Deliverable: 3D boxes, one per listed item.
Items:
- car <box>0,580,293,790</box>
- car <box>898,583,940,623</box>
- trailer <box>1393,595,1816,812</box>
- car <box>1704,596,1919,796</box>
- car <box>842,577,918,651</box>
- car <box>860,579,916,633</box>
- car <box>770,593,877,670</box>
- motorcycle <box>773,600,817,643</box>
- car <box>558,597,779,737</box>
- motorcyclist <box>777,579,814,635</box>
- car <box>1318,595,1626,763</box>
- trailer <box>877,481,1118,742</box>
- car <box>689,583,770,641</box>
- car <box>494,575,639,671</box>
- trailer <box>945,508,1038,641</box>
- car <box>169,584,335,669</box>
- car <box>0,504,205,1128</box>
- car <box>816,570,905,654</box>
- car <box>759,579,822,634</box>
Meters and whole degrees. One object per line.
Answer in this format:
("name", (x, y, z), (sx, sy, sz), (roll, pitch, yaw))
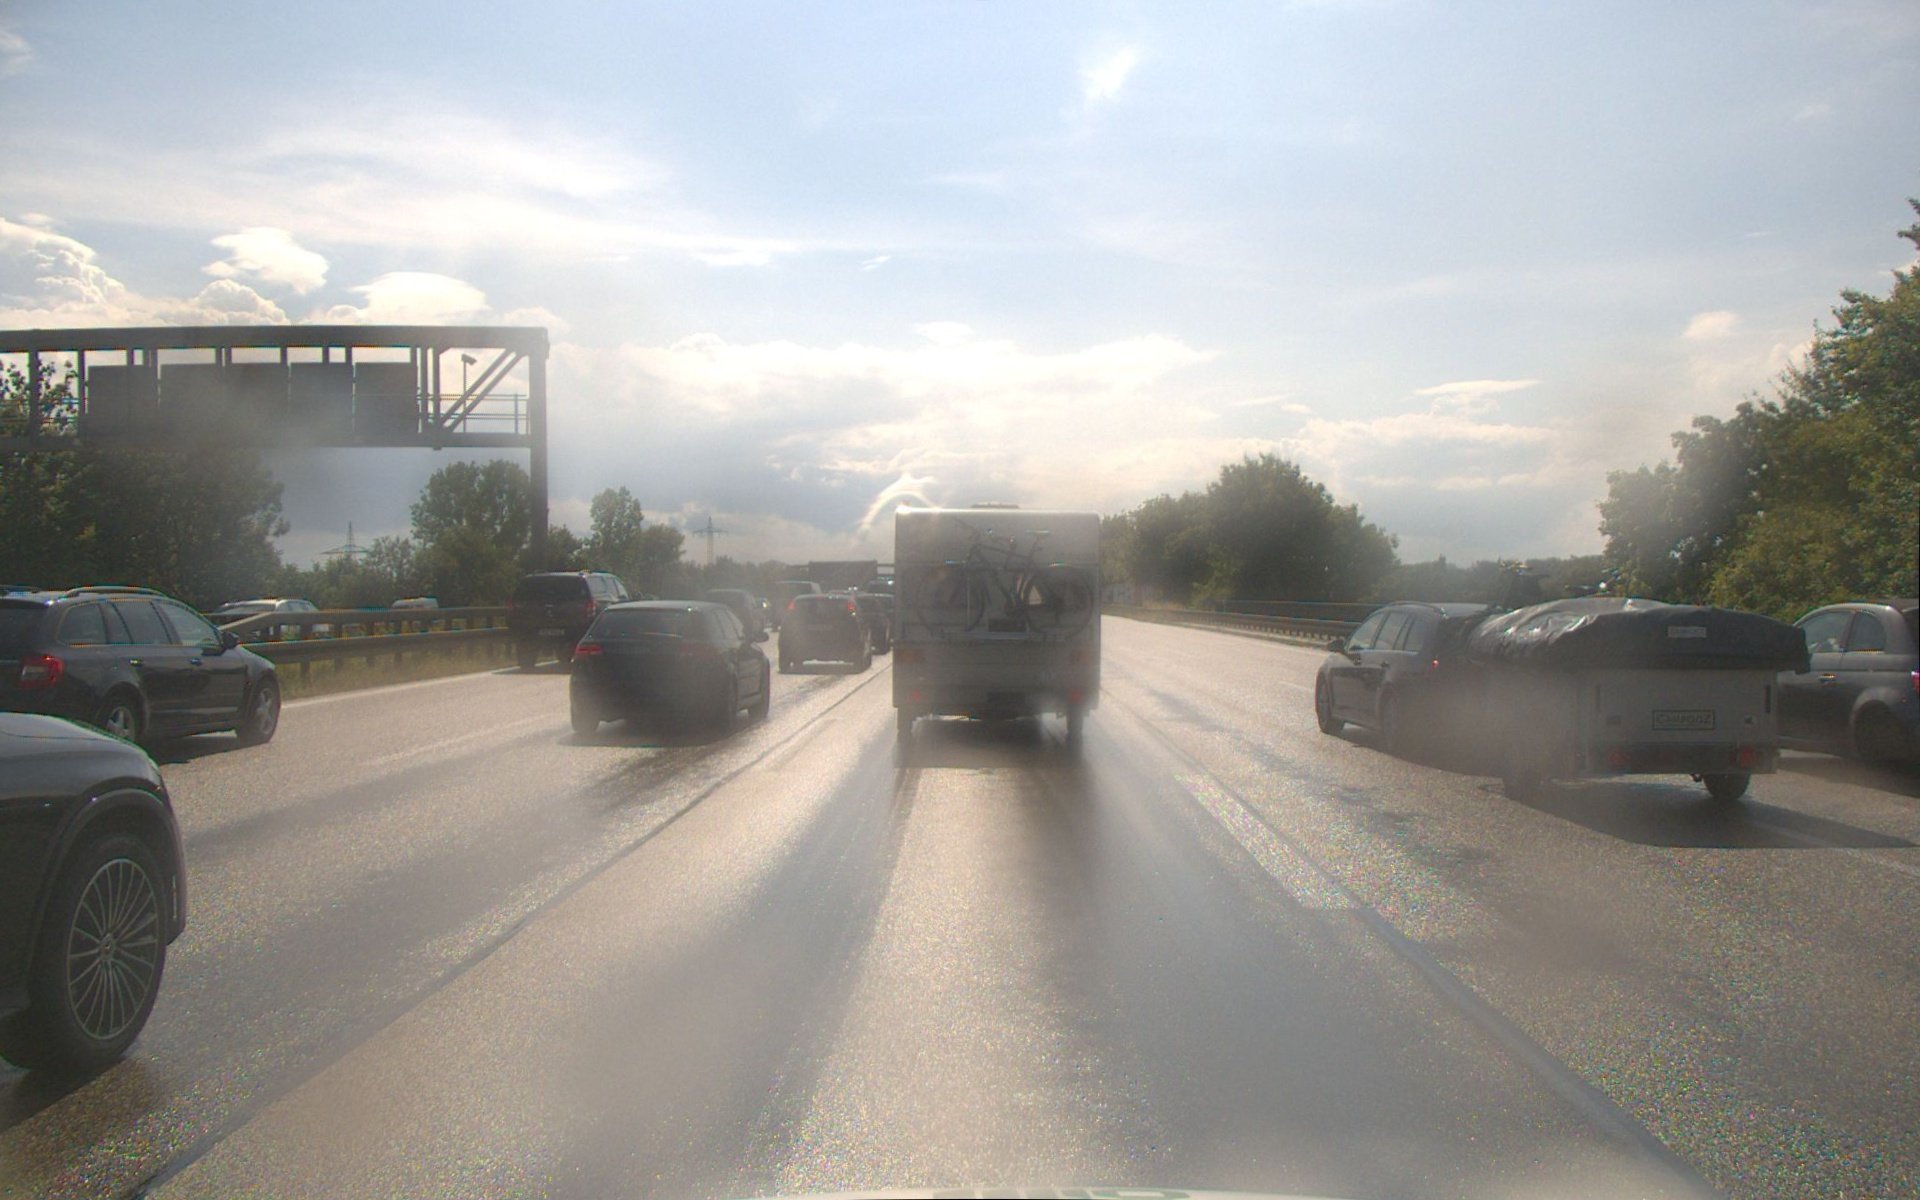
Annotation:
("car", (-7.512, 0.614, 14.260), (1.720, 1.543, 4.209), (0, 0, 1))
("car", (-2.089, 0.140, 85.563), (1.952, 2.049, 4.001), (0, 0, 1))
("trailer", (4.930, 0.699, 13.328), (1.816, 1.467, 4.148), (0, 0, 0))
("car", (8.083, 0.725, 14.350), (1.637, 1.508, 3.671), (0, 0, 0))
("car", (-2.409, 0.414, 50.813), (1.953, 2.048, 4.001), (4, 0, 1))
("car", (-2.796, 0.212, 64.943), (1.952, 2.049, 4.001), (0, 0, 1))
("car", (-2.687, 0.595, 33.400), (1.769, 1.432, 4.000), (1, 0, 1))
("motorcycle", (-5.197, 0.659, 52.275), (1.051, 1.293, 2.690), (0, 0, 1))
("car", (-3.173, 0.675, 18.761), (1.720, 1.411, 3.946), (0, 0, 1))
("motorcyclist", (-5.197, 0.208, 52.237), (1.042, 1.748, 0.785), (0, 0, 1))
("car", (4.958, 0.691, 16.660), (1.816, 1.467, 4.258), (0, 0, 0))
("trailer", (0.391, 0.119, 19.478), (2.325, 2.526, 6.523), (1, 0, 0))
("car", (-7.346, 0.362, 53.108), (1.952, 1.803, 4.001), (0, 0, 1))
("car", (-7.751, 0.434, 32.958), (1.953, 1.750, 3.999), (1, 0, -1))
("trailer", (1.191, -0.817, 57.376), (2.944, 4.239, 8.538), (1, 0, 3))
("car", (-15.259, 0.522, 35.908), (1.953, 1.736, 4.153), (0, 0, -2))
("car", (-3.577, 0.579, 3.449), (1.952, 1.690, 4.406), (0, 0, 0))
("car", (-2.524, 0.291, 42.744), (1.952, 2.049, 4.001), (1, 0, 1))
("car", (-6.873, 0.266, 67.403), (1.953, 2.048, 4.001), (4, 0, 1))
